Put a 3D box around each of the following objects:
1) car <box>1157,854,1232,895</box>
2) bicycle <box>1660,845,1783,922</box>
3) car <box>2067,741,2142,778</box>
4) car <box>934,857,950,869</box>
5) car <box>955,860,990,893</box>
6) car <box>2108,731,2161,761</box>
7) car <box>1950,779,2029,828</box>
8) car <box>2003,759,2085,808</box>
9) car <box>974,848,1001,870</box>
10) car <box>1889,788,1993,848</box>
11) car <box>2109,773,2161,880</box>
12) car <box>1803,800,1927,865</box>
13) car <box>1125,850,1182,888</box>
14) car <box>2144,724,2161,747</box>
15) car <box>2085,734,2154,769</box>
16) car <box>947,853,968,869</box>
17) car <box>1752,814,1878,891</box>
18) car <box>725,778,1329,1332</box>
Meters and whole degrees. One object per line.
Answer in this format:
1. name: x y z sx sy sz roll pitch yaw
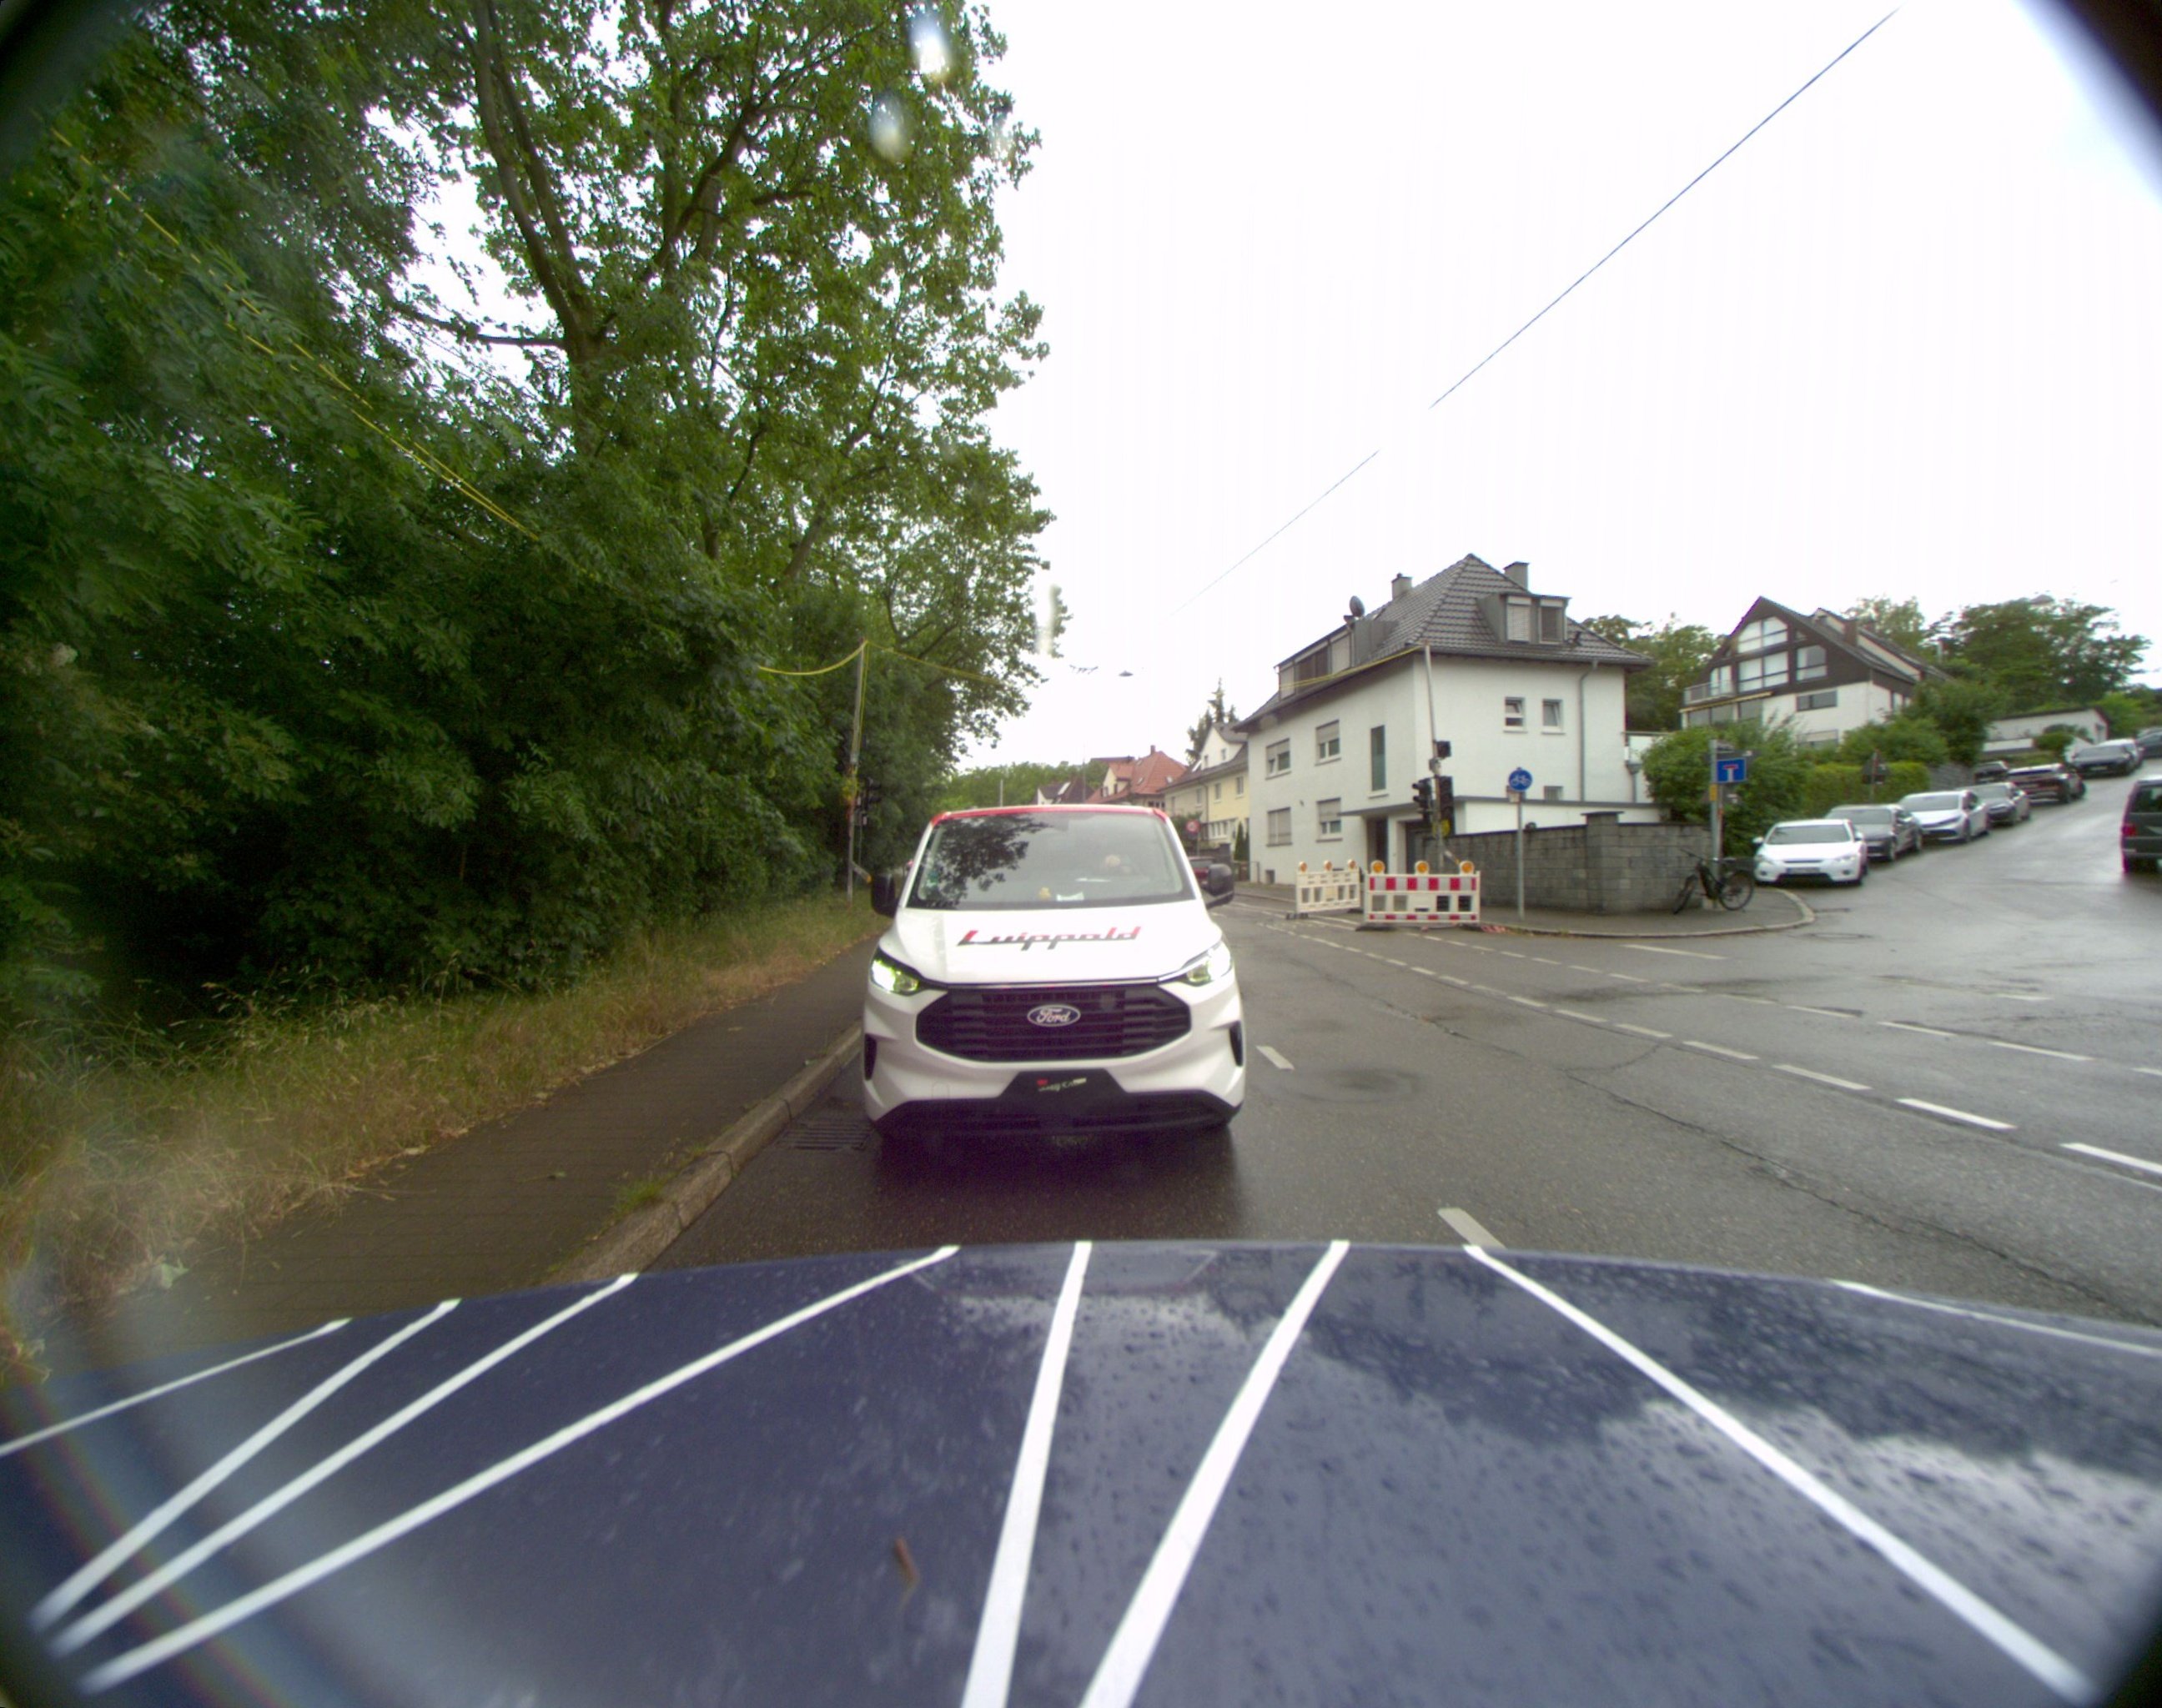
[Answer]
1. car: 4.375 0.830 29.895 1.898 1.485 3.795 -1 -2 -8
2. bicycle: 11.718 0.513 13.919 1.732 1.304 0.707 -2 1 -7
3. car: 54.755 -5.054 40.640 3.834 1.492 1.733 -9 3 -26
4. car: -18.859 1.229 102.962 1.767 1.519 3.585 -2 1 -17
5. car: -5.693 1.182 40.036 1.670 1.579 4.004 -3 -2 -8
6. car: 68.139 -6.951 48.094 1.582 1.492 3.607 -10 4 -34
7. car: 32.283 -1.797 26.974 3.508 1.383 1.333 -8 4 -32
8. car: 40.625 -2.977 32.037 3.988 1.547 1.333 -9 3 -26
9. car: -9.393 0.502 75.993 2.001 2.002 3.994 -2 1 -17
10. car: 27.255 -1.157 24.050 3.859 1.458 1.579 -8 4 -32
11. car: 23.655 -0.678 16.071 3.801 1.926 1.911 -9 3 -31
12. car: 22.480 -0.638 21.759 3.859 1.458 1.700 -7 2 -32
13. car: 3.252 0.701 34.836 1.670 1.579 4.004 -3 -2 -8
14. car: 81.257 -8.928 55.754 1.624 1.492 3.514 -9 3 -24
15. car: 60.490 -5.972 44.248 3.834 1.492 1.733 -9 3 -26
16. car: -15.344 0.794 94.047 2.001 1.850 4.354 -2 1 -17
17. car: 17.657 -0.057 18.233 3.566 1.458 1.746 -7 2 -40
18. car: -0.151 0.685 5.267 2.045 1.883 5.208 -2 1 1
